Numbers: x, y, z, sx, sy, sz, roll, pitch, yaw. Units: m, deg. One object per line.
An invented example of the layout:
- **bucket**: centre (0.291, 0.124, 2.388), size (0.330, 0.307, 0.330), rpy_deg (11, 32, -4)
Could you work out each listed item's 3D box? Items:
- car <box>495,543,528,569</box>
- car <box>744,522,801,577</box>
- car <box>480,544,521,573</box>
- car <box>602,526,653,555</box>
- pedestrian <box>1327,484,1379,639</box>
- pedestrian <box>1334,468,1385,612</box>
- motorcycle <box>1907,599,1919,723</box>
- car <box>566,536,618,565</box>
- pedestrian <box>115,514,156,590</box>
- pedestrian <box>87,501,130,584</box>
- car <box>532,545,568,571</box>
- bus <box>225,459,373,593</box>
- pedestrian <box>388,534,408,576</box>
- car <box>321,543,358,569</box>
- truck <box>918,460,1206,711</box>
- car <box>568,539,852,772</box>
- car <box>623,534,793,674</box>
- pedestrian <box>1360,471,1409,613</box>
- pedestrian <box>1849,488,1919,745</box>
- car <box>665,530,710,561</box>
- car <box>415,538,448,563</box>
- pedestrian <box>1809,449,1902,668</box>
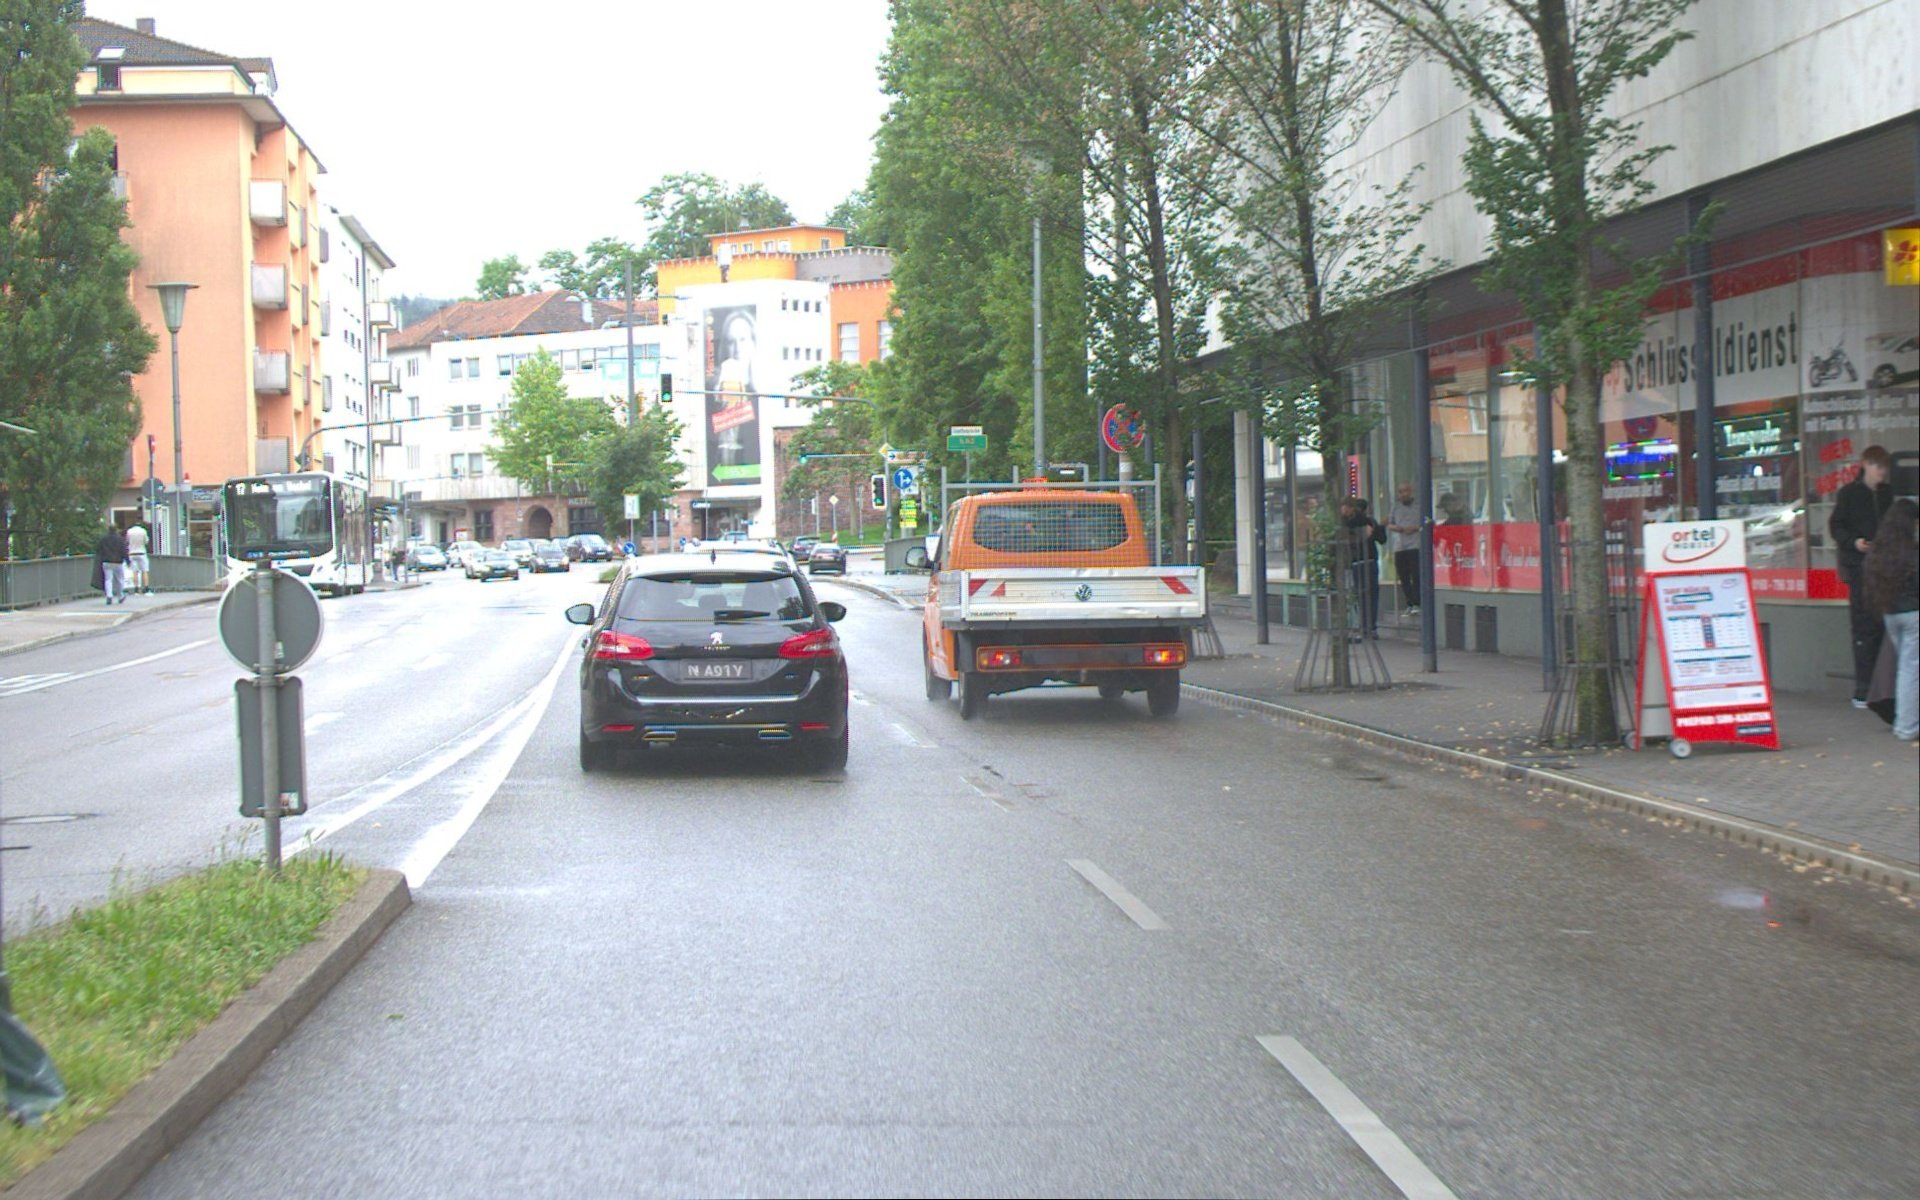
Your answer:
- **car**: centre (-25.304, -2.483, 194.017), size (1.664, 1.395, 3.877), rpy_deg (-2, 1, -6)
- **car**: centre (-5.943, -1.591, 108.588), size (1.644, 1.559, 3.600), rpy_deg (1, -2, -5)
- **car**: centre (-22.230, -2.011, 166.408), size (1.791, 1.320, 4.407), rpy_deg (-2, 1, -6)
- **car**: centre (-19.804, -3.554, 204.481), size (1.644, 1.559, 3.600), rpy_deg (2, -2, -30)
- **pedestrian**: centre (4.663, -0.464, 40.826), size (0.536, 1.813, 0.534), rpy_deg (-1, 1, 3)
- **pedestrian**: centre (4.828, -0.731, 41.570), size (0.536, 1.713, 0.534), rpy_deg (-1, 1, 3)
- **motorcycle**: centre (6.459, 0.407, 22.228), size (0.324, 0.801, 0.920), rpy_deg (-2, 2, -5)
- **car**: centre (-21.456, -2.862, 200.456), size (1.644, 1.559, 3.600), rpy_deg (2, -2, -30)
- **pedestrian**: centre (-19.731, -1.149, 82.255), size (0.797, 1.788, 0.812), rpy_deg (0, 0, -3)
- **pedestrian**: centre (-18.452, -1.235, 74.500), size (0.698, 1.788, 0.958), rpy_deg (0, 0, -2)
- **car**: centre (-21.838, -2.241, 183.158), size (1.791, 1.320, 4.407), rpy_deg (-2, 1, -6)
- **bus**: centre (-16.398, -1.958, 86.004), size (2.743, 3.065, 12.241), rpy_deg (-1, 2, -7)
- **pedestrian**: centre (-27.520, -2.189, 168.348), size (0.726, 2.007, 0.657), rpy_deg (3, -2, -38)
- **car**: centre (-34.538, -2.440, 191.447), size (1.664, 1.395, 3.877), rpy_deg (-2, 1, -6)
- **truck**: centre (0.790, -0.120, 30.003), size (2.121, 2.018, 4.716), rpy_deg (0, 0, -3)
- **car**: centre (-1.692, 0.349, 23.888), size (1.794, 1.478, 4.000), rpy_deg (0, 0, -3)
- **car**: centre (-2.843, 0.014, 39.492), size (1.795, 1.478, 4.000), rpy_deg (-2, 1, -2)
- **pedestrian**: centre (5.207, -0.714, 42.166), size (0.536, 1.713, 0.534), rpy_deg (-1, 1, 5)
- **pedestrian**: centre (5.821, 0.092, 21.272), size (0.429, 1.561, 0.510), rpy_deg (-2, 1, -6)
- **car**: centre (-15.322, -3.063, 193.019), size (1.993, 1.678, 4.001), rpy_deg (-2, 1, -11)
- **car**: centre (-30.906, -2.910, 201.155), size (1.664, 1.395, 3.877), rpy_deg (-2, 1, -6)
- **pedestrian**: centre (6.479, -0.303, 24.880), size (0.430, 1.561, 0.508), rpy_deg (-1, 2, 41)
